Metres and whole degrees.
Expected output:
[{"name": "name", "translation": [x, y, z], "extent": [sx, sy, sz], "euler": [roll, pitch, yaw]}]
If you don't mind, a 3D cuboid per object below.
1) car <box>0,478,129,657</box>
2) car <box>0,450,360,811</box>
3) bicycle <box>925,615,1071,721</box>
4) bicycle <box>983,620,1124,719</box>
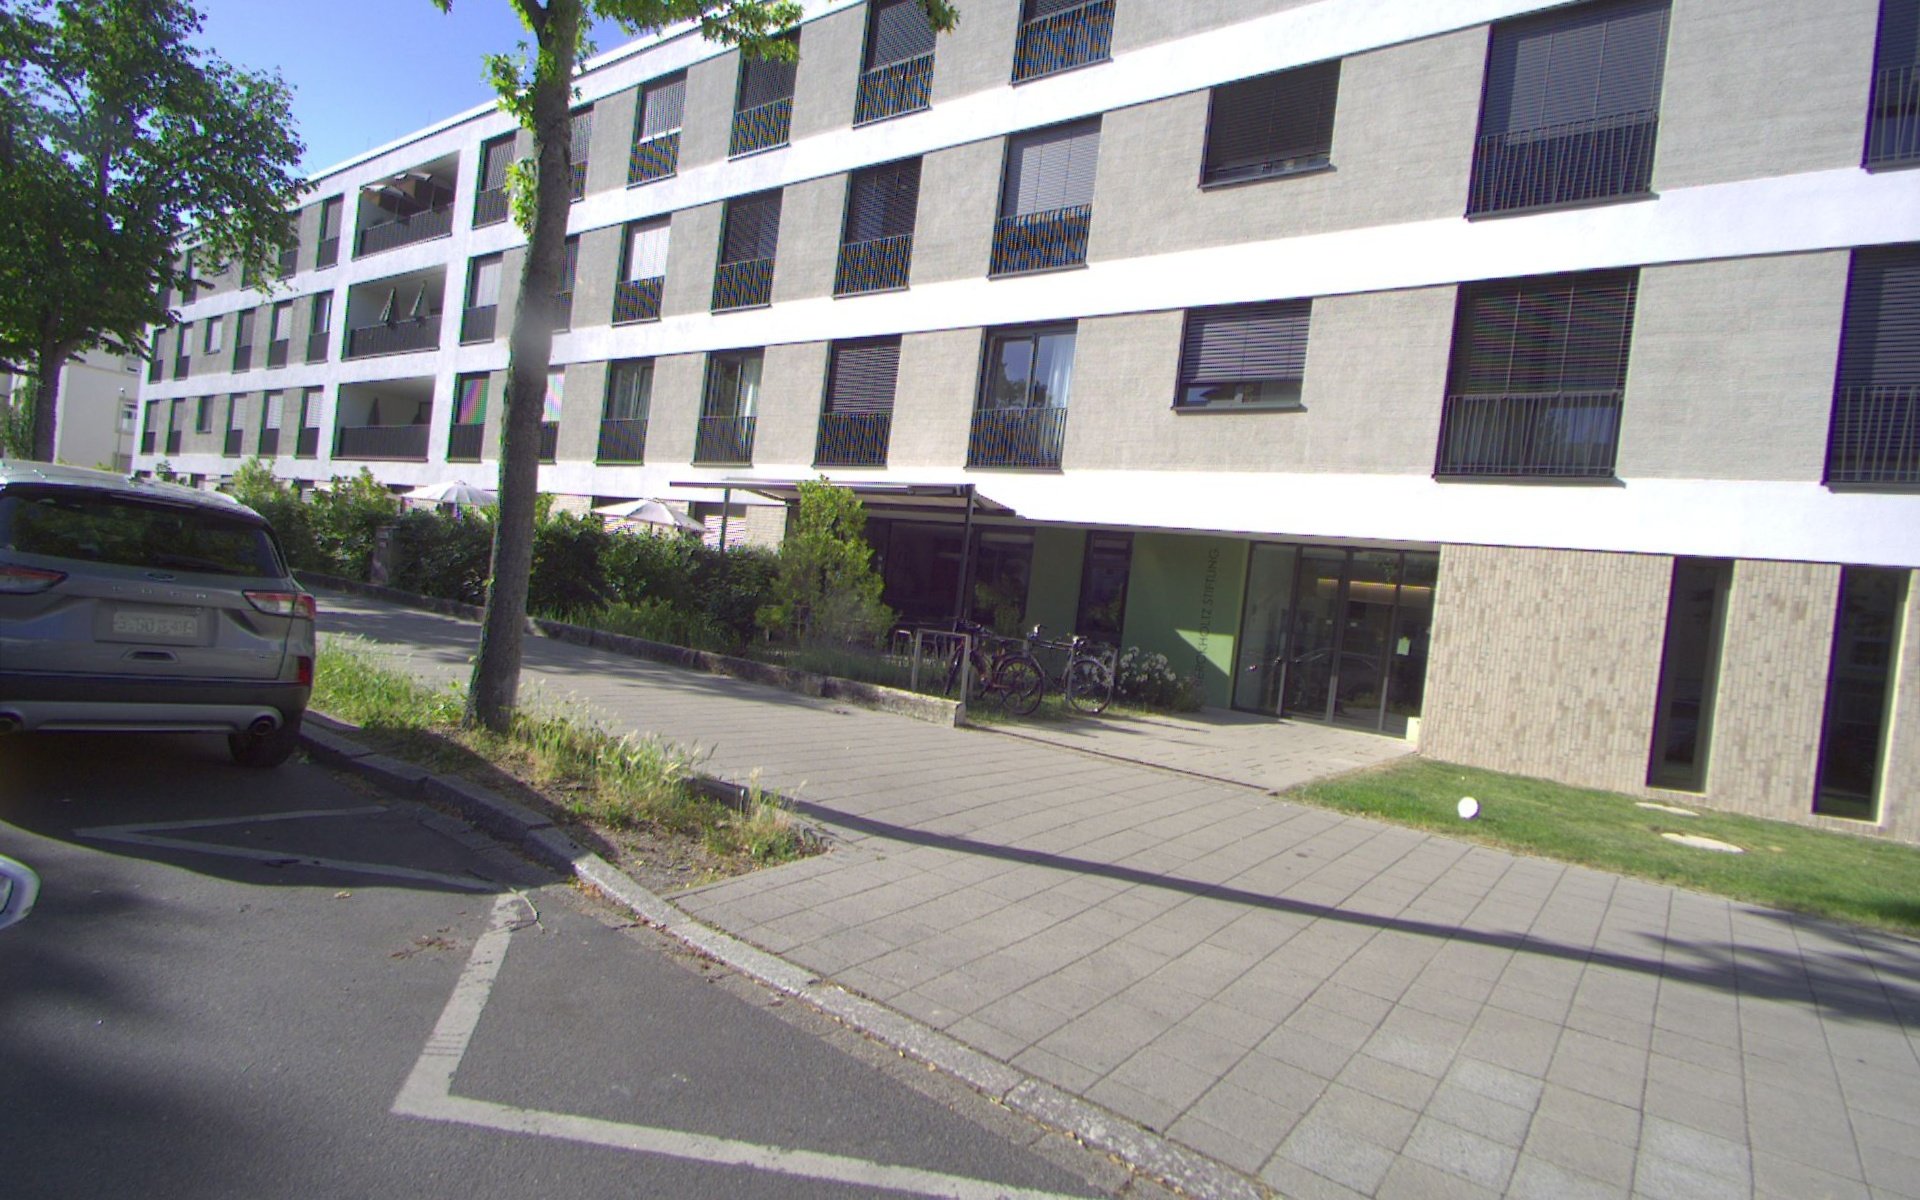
[{"name": "car", "translation": [-10.065, -0.495, 9.940], "extent": [3.935, 1.542, 1.695], "euler": [7, 0, 34]}, {"name": "car", "translation": [-5.757, 0.015, 6.377], "extent": [4.346, 1.650, 1.847], "euler": [6, -1, 39]}, {"name": "bicycle", "translation": [0.451, 0.814, 12.404], "extent": [1.665, 1.068, 0.546], "euler": [7, 2, 35]}, {"name": "bicycle", "translation": [1.231, 0.911, 13.519], "extent": [1.752, 1.068, 0.546], "euler": [7, 2, 35]}]
